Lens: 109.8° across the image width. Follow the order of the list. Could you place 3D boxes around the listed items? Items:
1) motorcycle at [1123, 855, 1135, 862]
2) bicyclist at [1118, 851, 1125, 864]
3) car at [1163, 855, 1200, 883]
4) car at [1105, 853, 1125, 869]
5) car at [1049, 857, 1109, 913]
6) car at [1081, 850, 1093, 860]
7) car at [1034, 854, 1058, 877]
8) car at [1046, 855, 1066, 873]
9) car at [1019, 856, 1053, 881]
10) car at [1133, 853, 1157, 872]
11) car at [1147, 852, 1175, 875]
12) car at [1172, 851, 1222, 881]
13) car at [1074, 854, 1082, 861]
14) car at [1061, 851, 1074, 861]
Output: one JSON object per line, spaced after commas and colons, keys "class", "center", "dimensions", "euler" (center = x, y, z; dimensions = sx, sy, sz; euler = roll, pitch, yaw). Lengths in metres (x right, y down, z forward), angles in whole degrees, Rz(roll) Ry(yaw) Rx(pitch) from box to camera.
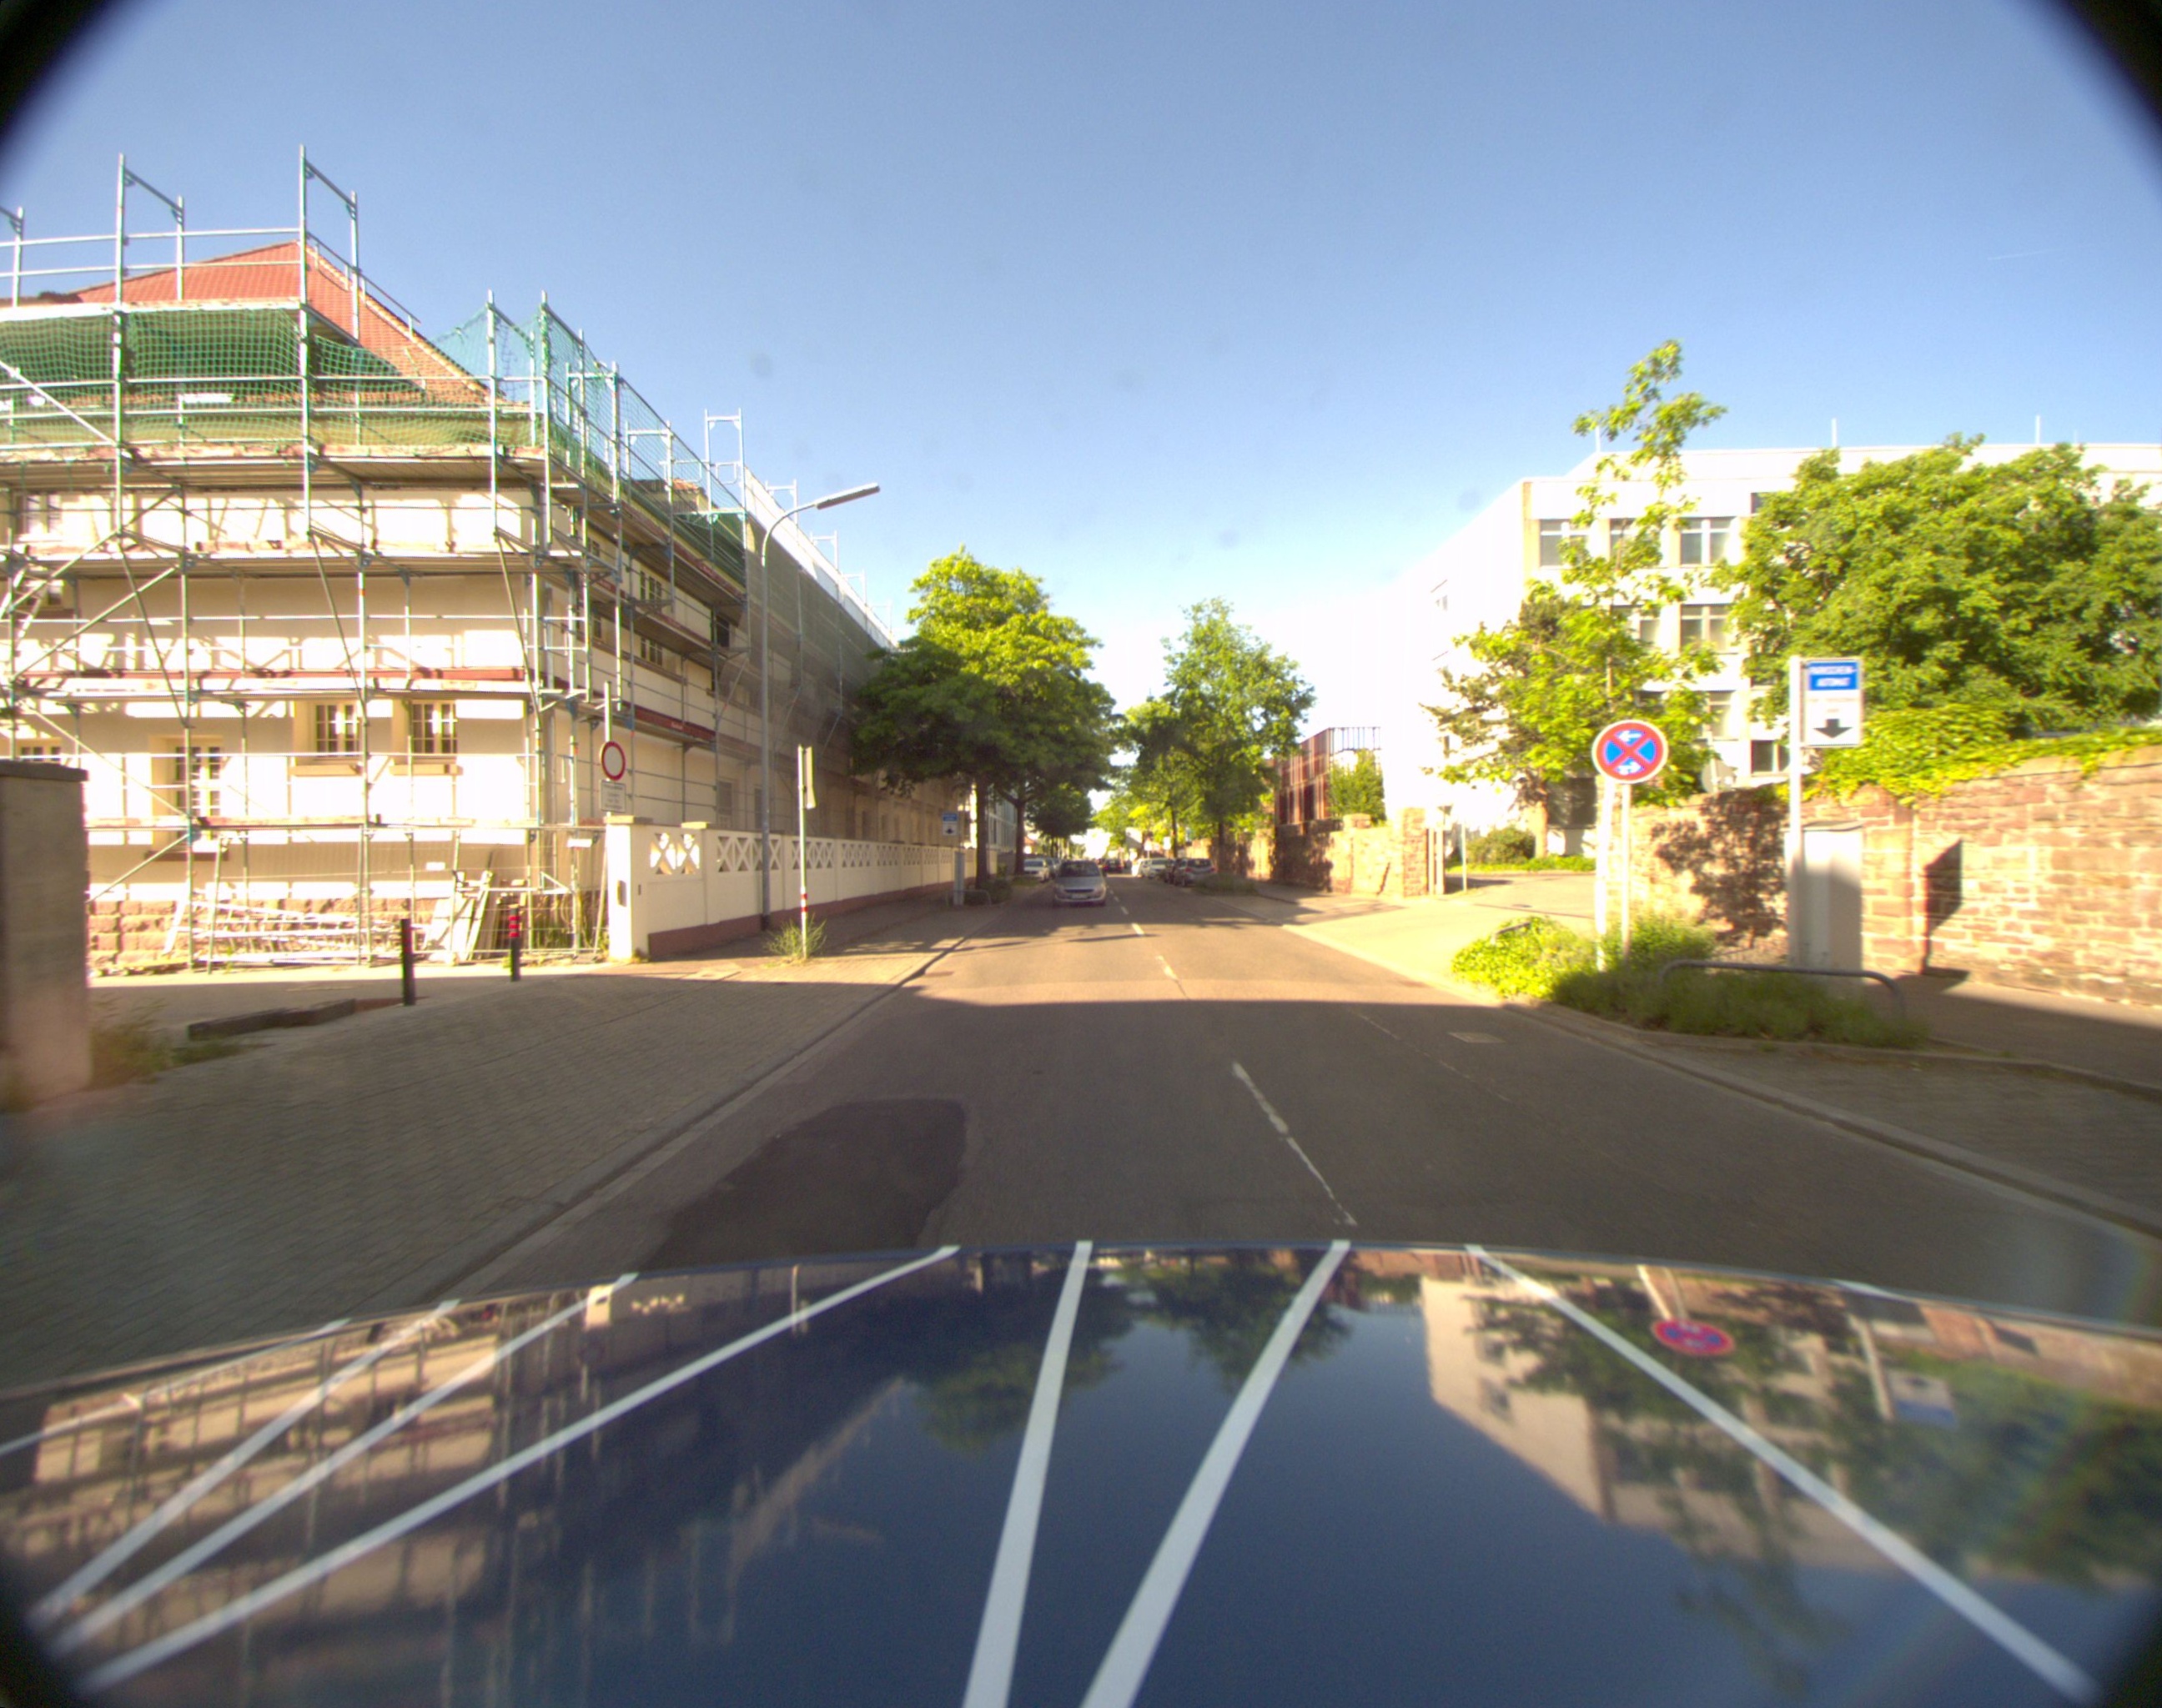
{"class": "motorcycle", "center": [6.465, 0.607, 102.583], "dimensions": [0.599, 1.026, 2.132], "euler": [-1, 0, 35]}
{"class": "bicyclist", "center": [4.784, 0.373, 89.645], "dimensions": [0.722, 1.513, 1.005], "euler": [-3, 1, 3]}
{"class": "car", "center": [5.827, 0.813, 44.395], "dimensions": [1.577, 1.506, 4.044], "euler": [-1, 0, 0]}
{"class": "car", "center": [3.339, 0.667, 74.475], "dimensions": [1.826, 1.427, 3.969], "euler": [1, 0, 1]}
{"class": "car", "center": [-0.004, 0.950, 25.261], "dimensions": [1.748, 1.613, 4.106], "euler": [-3, 0, 2]}
{"class": "car", "center": [1.157, 0.201, 137.294], "dimensions": [1.834, 1.732, 4.001], "euler": [-3, 0, 5]}
{"class": "car", "center": [-2.683, 0.866, 58.670], "dimensions": [1.716, 1.629, 4.302], "euler": [-1, 0, -1]}
{"class": "car", "center": [-2.403, 0.972, 74.489], "dimensions": [1.797, 1.606, 4.126], "euler": [-2, 0, -1]}
{"class": "car", "center": [-2.911, 0.915, 49.503], "dimensions": [1.727, 1.501, 3.993], "euler": [1, 0, 4]}
{"class": "car", "center": [5.239, 0.662, 62.748], "dimensions": [1.578, 1.394, 3.750], "euler": [-4, 0, 0]}
{"class": "car", "center": [5.861, 0.690, 55.930], "dimensions": [1.681, 1.502, 3.849], "euler": [-4, 0, 1]}
{"class": "car", "center": [5.943, 0.603, 39.261], "dimensions": [1.692, 1.413, 3.837], "euler": [-3, 0, -4]}
{"class": "car", "center": [-0.624, 0.800, 163.735], "dimensions": [1.757, 1.459, 3.485], "euler": [-3, 0, -1]}
{"class": "car", "center": [-2.233, 0.267, 124.843], "dimensions": [1.887, 1.592, 4.298], "euler": [-1, 0, 1]}
